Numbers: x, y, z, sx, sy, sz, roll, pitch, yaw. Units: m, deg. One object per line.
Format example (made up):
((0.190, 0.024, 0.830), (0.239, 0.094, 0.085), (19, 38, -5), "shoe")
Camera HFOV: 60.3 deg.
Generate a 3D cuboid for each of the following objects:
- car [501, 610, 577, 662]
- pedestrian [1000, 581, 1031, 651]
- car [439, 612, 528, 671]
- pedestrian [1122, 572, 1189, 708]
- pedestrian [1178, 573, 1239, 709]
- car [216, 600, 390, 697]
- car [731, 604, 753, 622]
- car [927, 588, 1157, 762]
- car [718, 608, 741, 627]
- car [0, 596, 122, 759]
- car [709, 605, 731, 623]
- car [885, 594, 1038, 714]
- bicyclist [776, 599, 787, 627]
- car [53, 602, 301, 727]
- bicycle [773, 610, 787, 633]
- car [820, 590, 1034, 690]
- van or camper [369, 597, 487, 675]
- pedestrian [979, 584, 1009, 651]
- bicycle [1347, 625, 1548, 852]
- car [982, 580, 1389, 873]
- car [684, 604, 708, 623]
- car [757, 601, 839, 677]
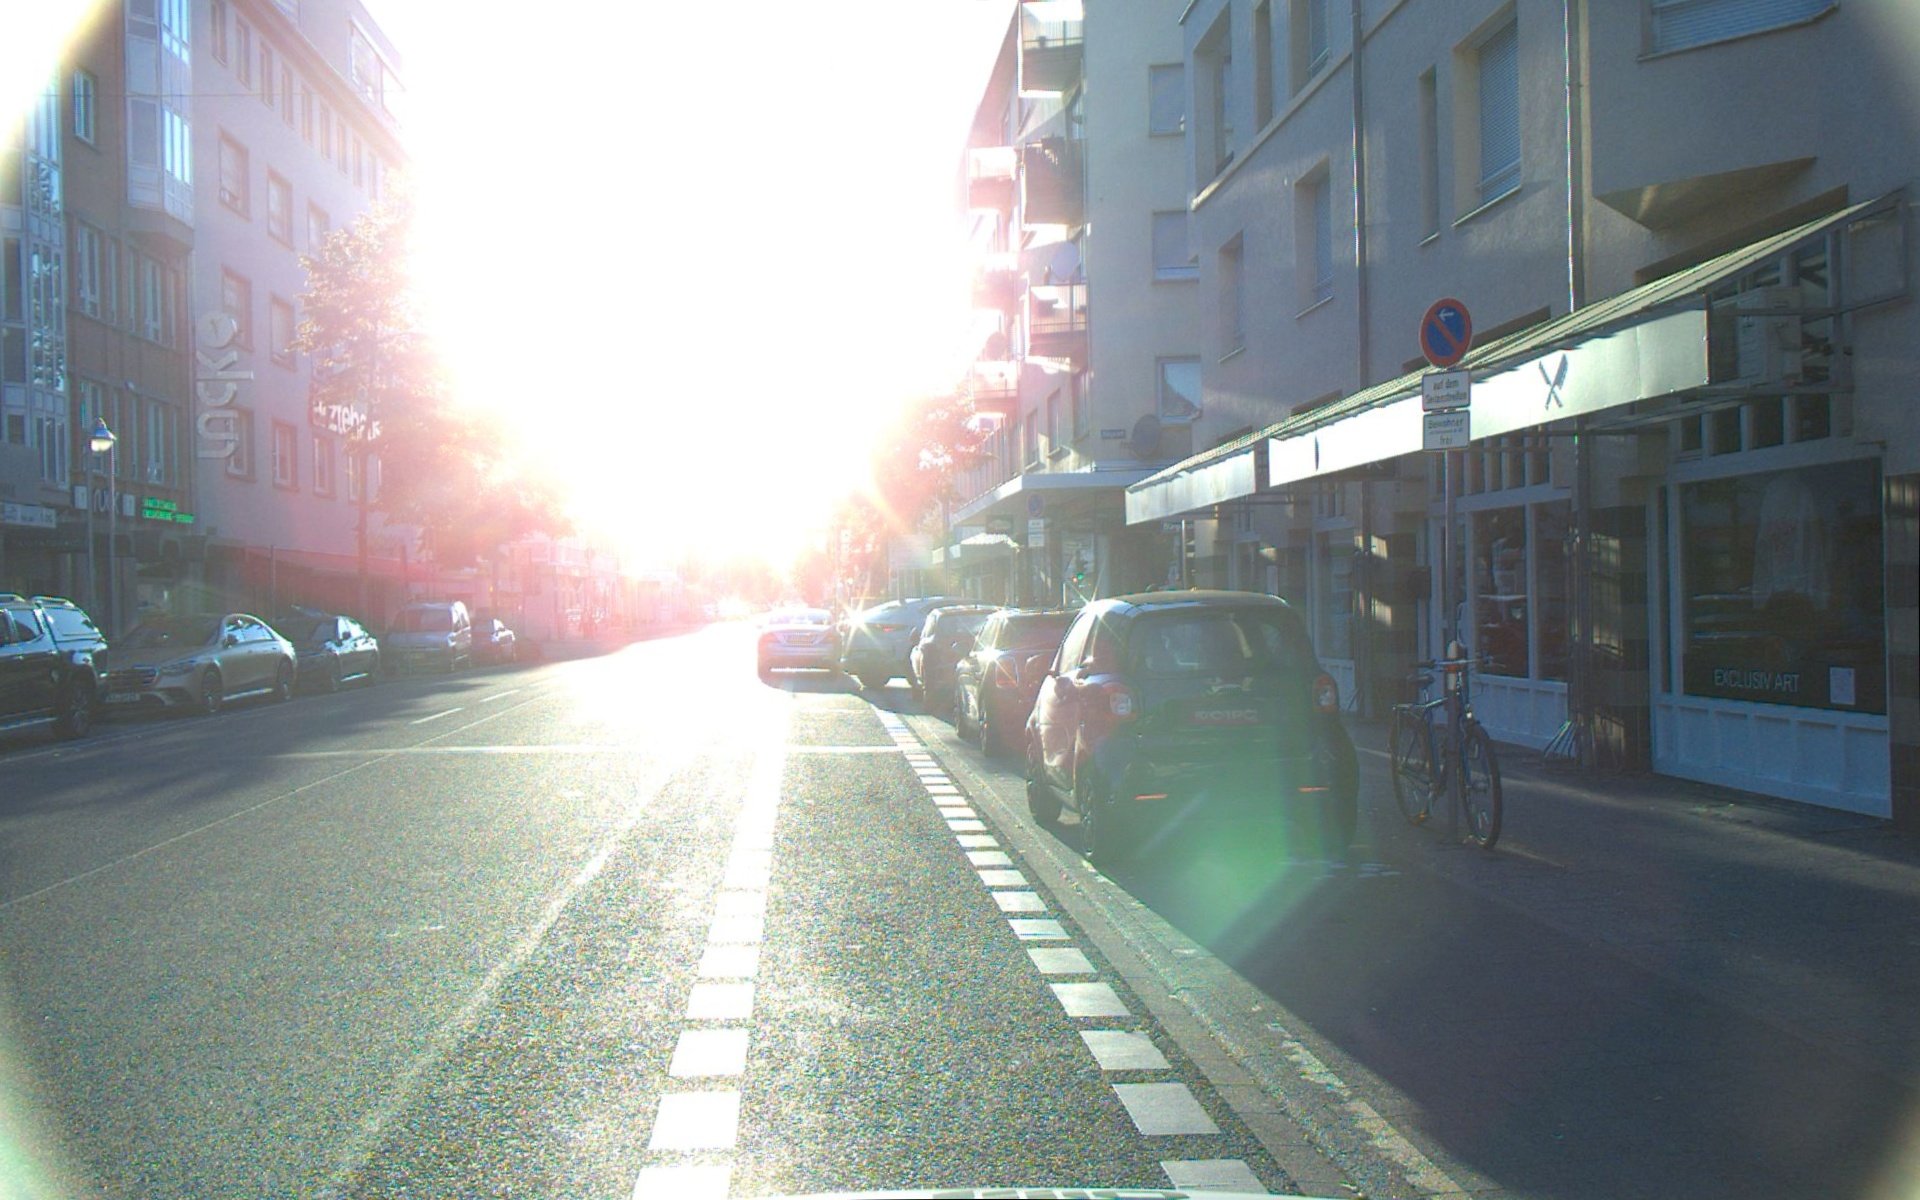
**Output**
((-13.296, 1.102, 52.402), (1.656, 1.529, 3.784), (-1, 0, -4), "car")
((1.486, 0.428, 44.114), (0.704, 1.822, 0.666), (-2, 0, -5), "pedestrian")
((-13.550, 1.143, 47.211), (1.656, 1.529, 3.784), (-1, 0, -4), "car")
((2.561, 0.515, 21.744), (0.618, 1.729, 1.039), (-2, 0, -7), "pedestrian")
((3.231, 0.521, 21.560), (0.549, 1.729, 0.830), (-2, 0, -7), "pedestrian")
((-12.496, 0.864, 31.768), (1.955, 1.684, 4.474), (-1, 0, -7), "car")
((-19.480, 1.171, 147.929), (1.656, 1.529, 3.784), (-1, 0, -4), "car")
((0.754, 0.702, 17.598), (1.755, 1.608, 3.780), (-1, 0, -8), "car")
((-19.603, 1.447, 140.585), (1.656, 1.529, 3.784), (-1, 0, -4), "car")
((-11.722, 0.895, 19.079), (1.956, 1.808, 5.309), (-2, 0, -8), "car")
((-21.329, 1.256, 147.142), (1.656, 1.529, 3.784), (-1, 0, -4), "car")
((-0.061, 0.732, 24.600), (1.755, 1.608, 3.780), (-1, 0, -8), "car")
((-10.146, 0.731, 93.908), (0.536, 1.608, 0.802), (-2, 0, -3), "bicyclist")
((-12.050, 0.919, 25.829), (1.955, 1.684, 4.623), (-2, 0, -5), "car")
((-10.207, 1.210, 93.988), (0.650, 1.264, 2.129), (1, 0, -3), "bicycle")
((-0.541, 0.704, 31.106), (1.841, 1.727, 4.306), (0, 0, 35), "car")
((-13.263, 0.849, 41.505), (1.753, 1.805, 4.554), (-1, 0, -4), "van or camper")
((0.939, 0.484, 45.873), (0.704, 1.822, 0.666), (-2, 0, -5), "pedestrian")
((2.978, 0.796, 10.308), (0.547, 1.227, 1.976), (-1, 0, -3), "bicycle")
((1.321, 0.705, 11.358), (1.755, 1.608, 3.960), (-1, 0, -8), "car")
((-22.327, 1.101, 140.111), (1.656, 1.529, 3.784), (-1, 0, -4), "car")
((-3.454, 0.810, 35.828), (1.656, 1.529, 3.784), (1, 0, -4), "car")
